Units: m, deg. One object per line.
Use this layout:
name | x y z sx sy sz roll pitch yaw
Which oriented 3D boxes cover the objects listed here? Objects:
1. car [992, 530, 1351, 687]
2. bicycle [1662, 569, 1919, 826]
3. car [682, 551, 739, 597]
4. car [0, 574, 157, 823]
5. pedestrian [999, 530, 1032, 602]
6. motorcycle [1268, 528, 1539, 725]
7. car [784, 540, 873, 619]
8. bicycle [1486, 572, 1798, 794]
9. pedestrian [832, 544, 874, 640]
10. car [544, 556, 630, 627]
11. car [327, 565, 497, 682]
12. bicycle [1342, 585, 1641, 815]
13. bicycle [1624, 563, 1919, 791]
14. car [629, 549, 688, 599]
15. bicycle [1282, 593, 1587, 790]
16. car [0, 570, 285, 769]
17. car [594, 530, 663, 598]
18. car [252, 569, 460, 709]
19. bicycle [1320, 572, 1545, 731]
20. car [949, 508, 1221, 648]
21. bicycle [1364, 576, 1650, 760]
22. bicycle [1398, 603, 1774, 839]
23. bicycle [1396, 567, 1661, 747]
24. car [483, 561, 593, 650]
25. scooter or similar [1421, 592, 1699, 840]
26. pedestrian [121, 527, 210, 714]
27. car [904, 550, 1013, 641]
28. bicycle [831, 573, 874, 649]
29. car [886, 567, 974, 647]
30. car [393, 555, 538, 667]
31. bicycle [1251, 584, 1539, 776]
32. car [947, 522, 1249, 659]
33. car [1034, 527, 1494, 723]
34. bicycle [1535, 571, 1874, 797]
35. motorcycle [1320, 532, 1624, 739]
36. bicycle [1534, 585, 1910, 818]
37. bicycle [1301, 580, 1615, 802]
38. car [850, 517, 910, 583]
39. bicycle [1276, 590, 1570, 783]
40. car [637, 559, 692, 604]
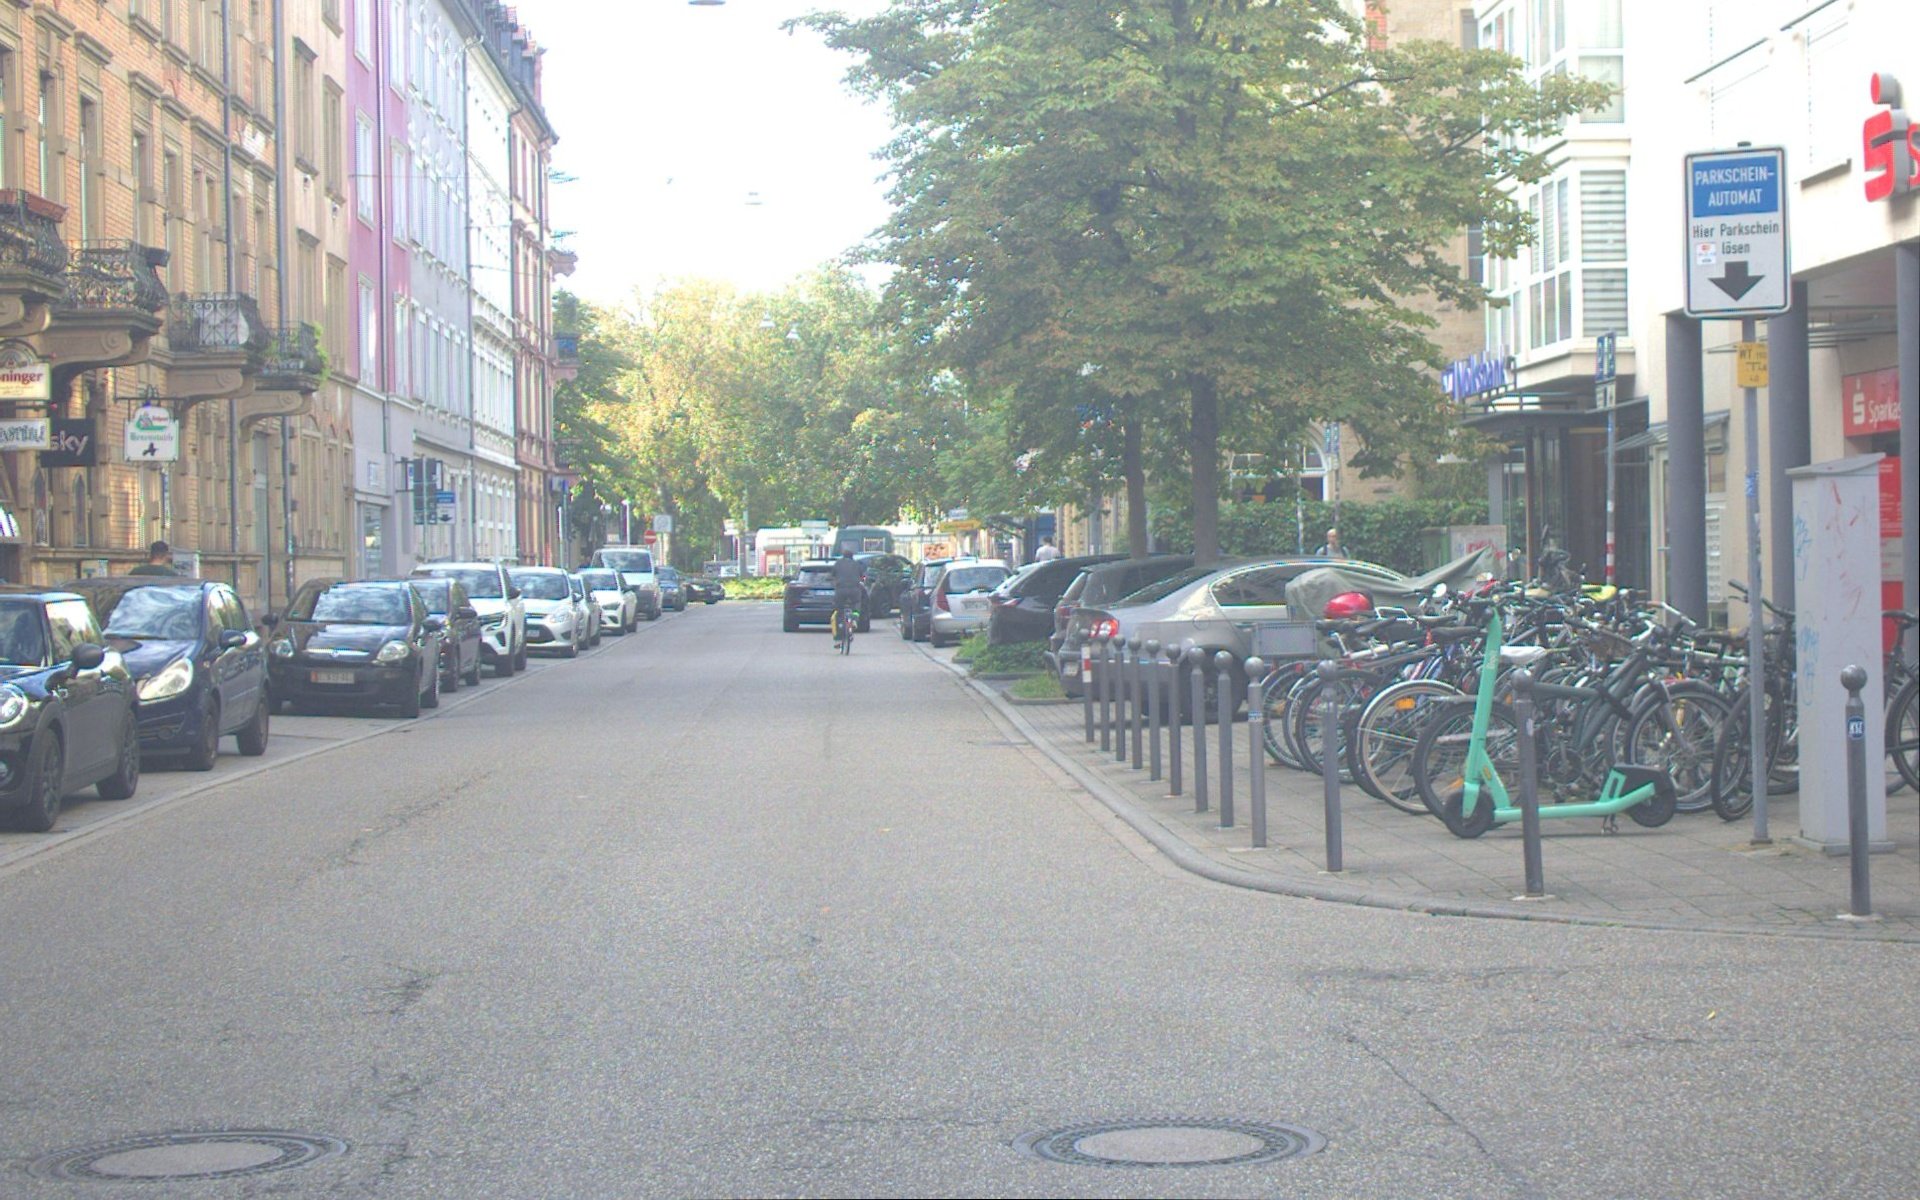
car | 2.448 0.077 39.952 3.987 1.578 2.000 -3 1 3
bicycle | 4.435 0.455 16.923 1.765 1.158 0.650 -3 1 0
car | -9.086 -0.958 125.421 1.855 1.615 4.000 0 1 -1
car | -6.210 0.544 21.332 1.690 1.382 3.867 0 1 -2
pedestrian | 1.737 -1.061 107.201 0.995 2.222 0.898 0 1 -1
motorcycle | 3.743 0.217 29.126 2.150 1.525 0.686 -3 1 3
car | -2.973 -0.449 77.705 1.964 1.735 4.041 0 0 -2
bicycle | 3.930 0.462 19.782 1.765 1.142 0.411 -4 1 -22
pedestrian | -1.860 -0.149 59.804 0.718 1.644 0.930 0 1 -1
car | -8.333 -0.213 77.031 1.690 1.545 3.867 0 1 -3
car | -7.082 0.269 44.733 1.690 1.365 3.867 3 1 -2
bicycle | 2.880 0.532 18.666 1.495 1.142 0.411 -3 1 -7
bicycle | 4.437 0.414 18.754 1.495 1.142 0.411 -3 1 -2
car | -9.528 -0.823 108.775 1.690 1.545 3.867 0 1 -3
bicycle | 2.914 0.558 21.185 1.765 1.095 0.411 -3 1 1
car | -6.496 0.493 27.216 1.690 1.432 3.867 0 1 -2
car | -8.963 -0.975 93.152 1.690 1.815 3.867 0 1 -3
car | -6.575 0.391 37.771 1.690 1.365 3.867 3 1 -2
bicycle | 3.763 0.402 27.449 1.664 1.155 0.557 -3 1 0
car | 1.895 -0.349 52.345 3.987 1.678 1.737 -3 9 2
bicycle | 3.701 0.465 23.293 1.796 1.155 0.499 -3 1 24
bicycle | 3.144 0.599 17.291 1.765 1.053 0.411 -3 1 -7
bicycle | 4.008 0.395 24.296 1.732 1.155 0.500 -3 1 0
car | -7.573 0.078 61.965 1.690 1.545 3.867 0 1 -3
scooter or similar | 2.903 0.568 16.671 1.207 1.143 0.378 -3 2 30
pedestrian | -7.978 0.196 34.552 0.689 1.847 0.931 0 1 -1
car | -0.059 -0.105 64.429 1.930 1.632 4.000 0 1 -2
bicycle | -1.862 0.177 59.720 0.718 1.270 1.884 0 1 -1
car | -0.624 0.115 68.886 1.690 1.545 3.688 0 1 -1
car | -7.140 0.129 49.918 1.690 1.545 3.867 0 1 -2
bicycle | 2.881 0.526 22.863 1.794 1.155 0.500 -3 1 1
car | 1.908 -0.146 47.286 3.987 1.634 2.000 -3 1 3
car | 2.742 0.218 31.324 3.759 1.541 1.731 -3 0 -12
bicycle | 4.173 0.461 19.286 1.765 1.142 0.411 -3 1 -7
motorcycle | 3.879 0.262 26.186 2.150 1.430 0.765 -3 1 3
bicycle | 3.962 0.519 17.957 1.765 1.083 0.650 -3 1 0
bicycle | 2.876 0.510 19.819 1.765 1.142 0.411 -4 1 -22
car | -2.527 -1.581 107.934 1.782 2.013 3.888 0 1 -3
bicycle | 2.947 0.544 21.930 1.765 1.115 0.411 -3 1 1
car | -10.272 -0.655 119.701 1.587 1.533 3.753 0 1 0
